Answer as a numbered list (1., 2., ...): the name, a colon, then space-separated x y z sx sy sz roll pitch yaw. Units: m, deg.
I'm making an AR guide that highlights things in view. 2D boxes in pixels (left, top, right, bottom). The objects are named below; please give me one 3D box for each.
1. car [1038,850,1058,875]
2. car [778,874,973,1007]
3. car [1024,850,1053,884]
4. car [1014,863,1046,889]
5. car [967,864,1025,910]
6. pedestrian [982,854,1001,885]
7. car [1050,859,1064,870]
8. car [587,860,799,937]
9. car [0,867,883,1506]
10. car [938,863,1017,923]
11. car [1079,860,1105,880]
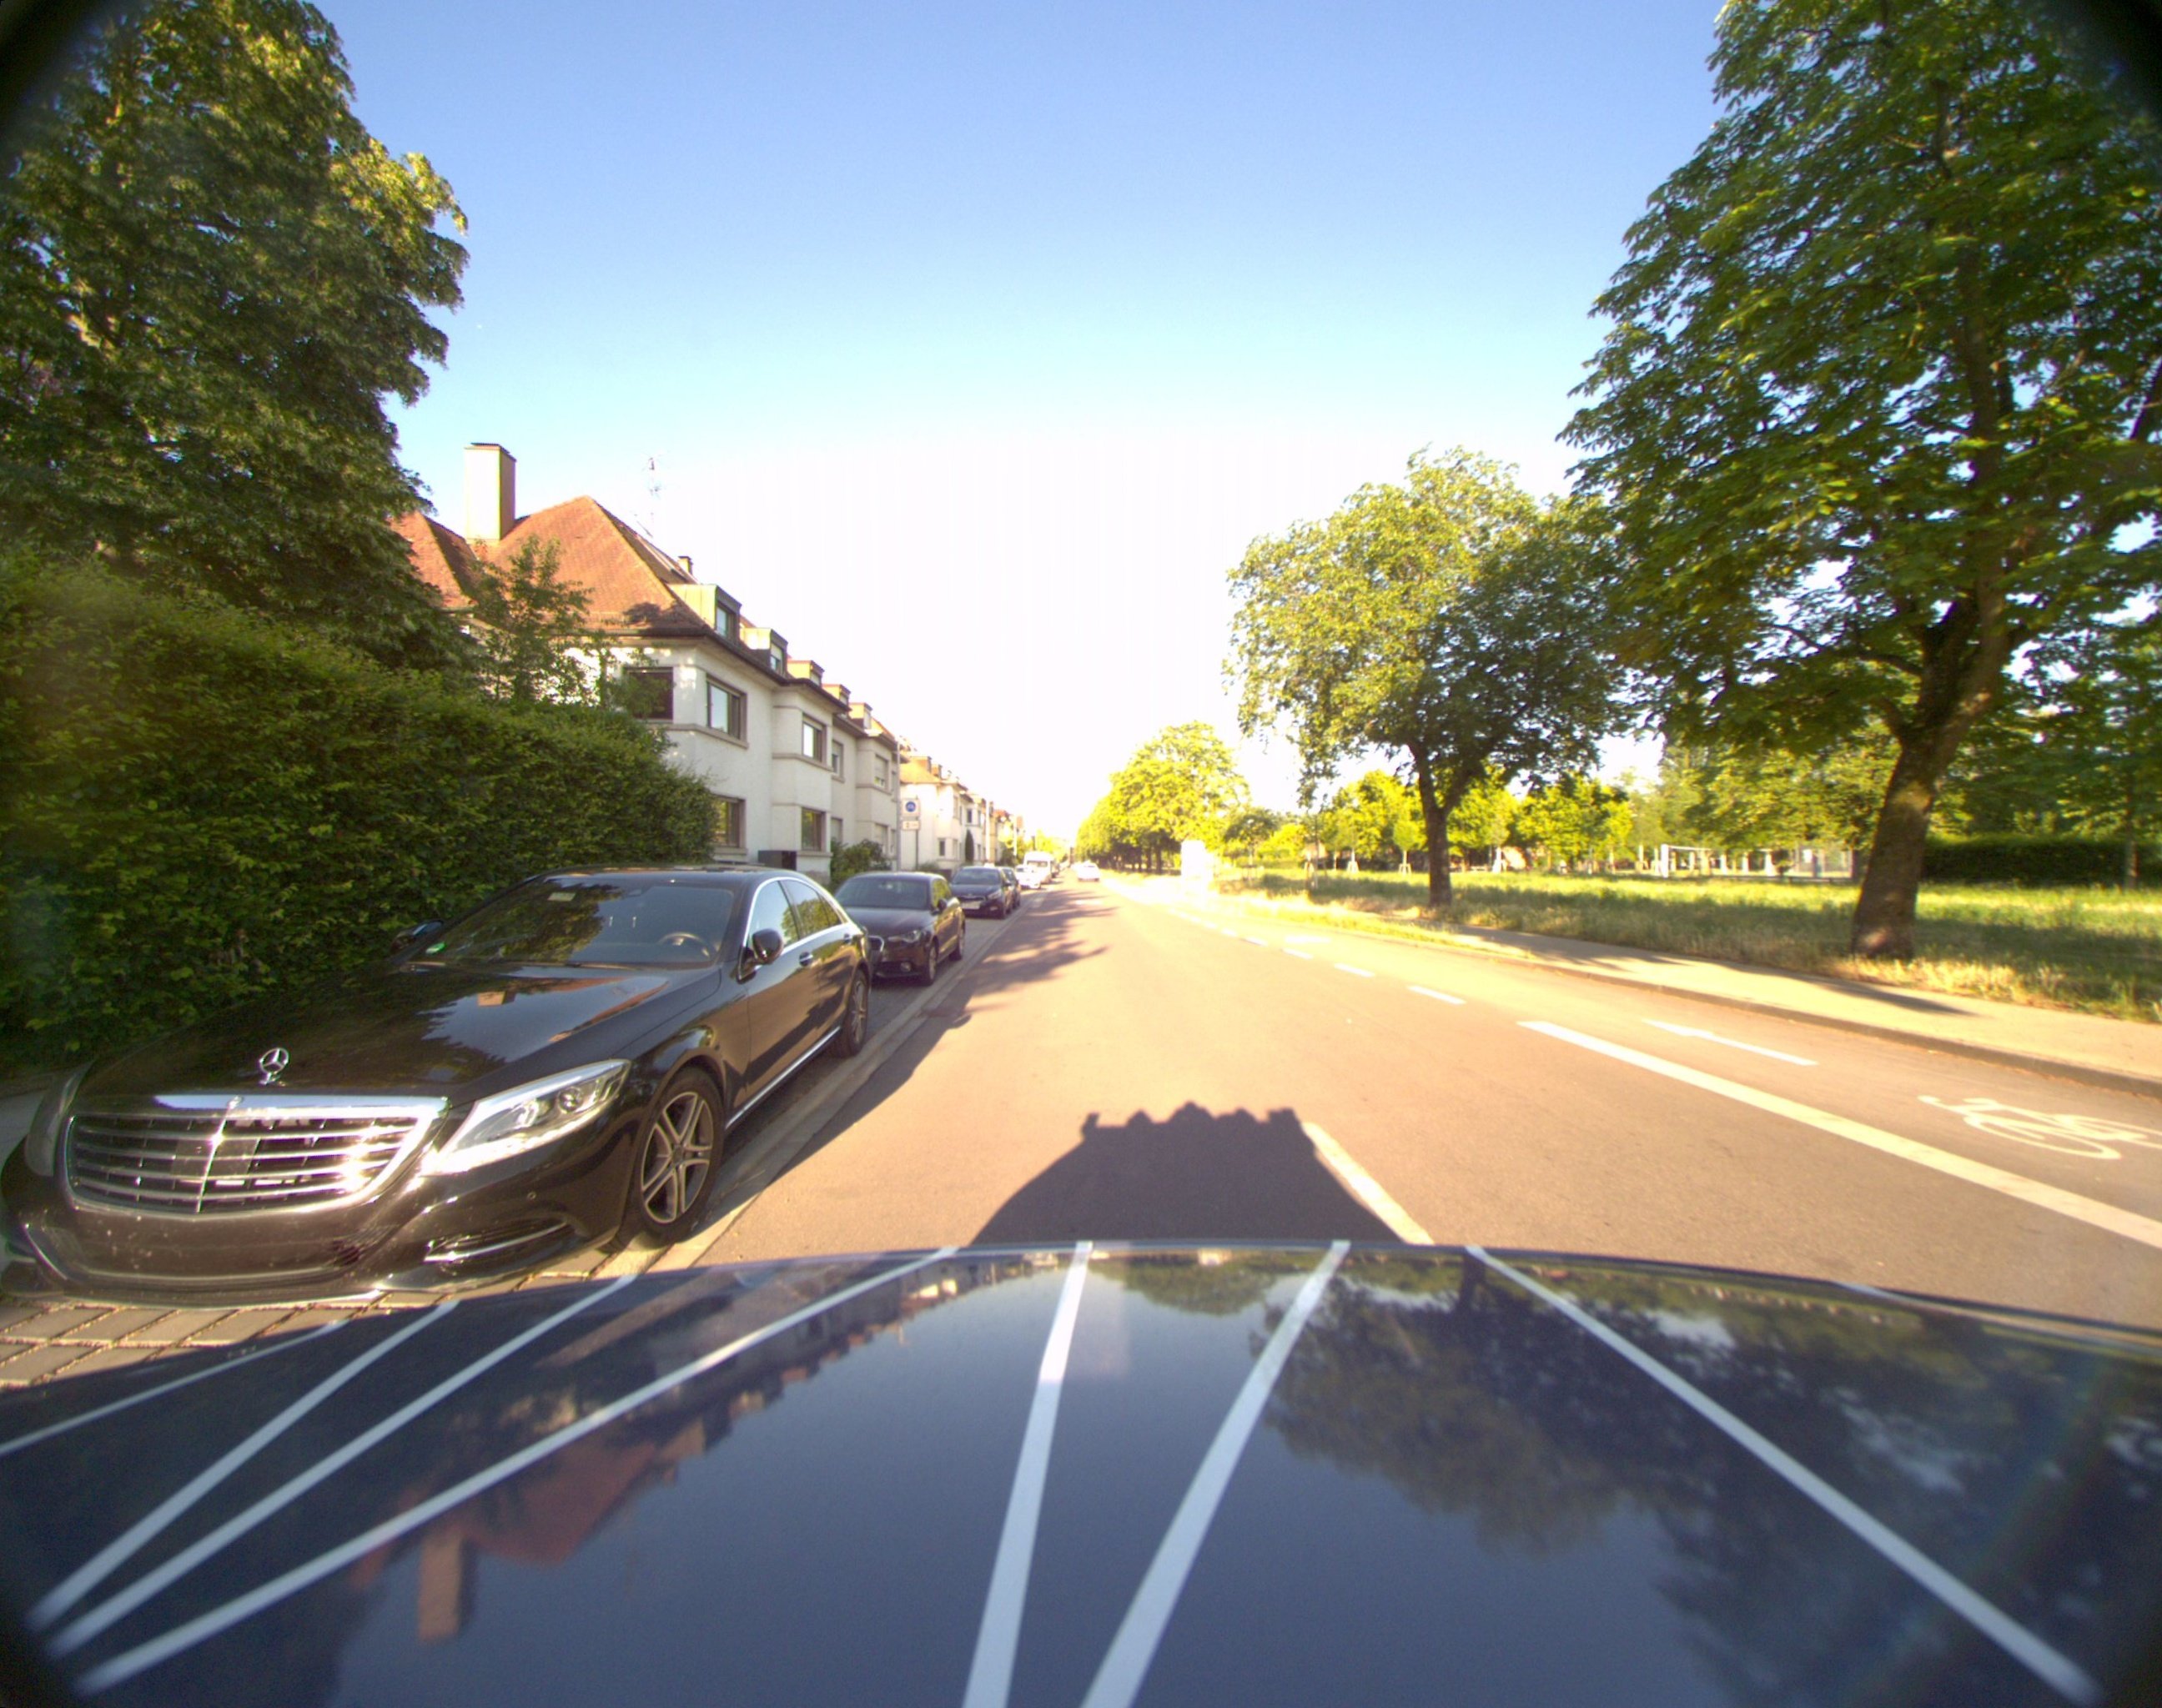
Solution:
1. car: -3.921 1.036 90.358 2.134 2.837 5.987 -1 0 -1
2. car: -2.649 1.048 10.718 1.645 1.419 3.936 1 0 0
3. car: -3.292 0.982 59.726 2.135 2.503 5.507 1 0 -2
4. car: -3.092 1.316 46.694 1.787 1.498 4.233 -1 0 -2
5. car: -3.000 1.147 27.568 1.723 1.463 3.983 2 0 -2
6. pedestrian: -5.813 0.985 49.103 1.089 2.002 0.865 0 0 -16
7. car: -3.657 1.575 116.664 1.974 1.630 4.000 2 0 -1
8. car: -8.221 0.924 16.380 3.644 1.487 1.780 1 0 -5
9. car: -2.623 0.889 4.347 1.864 1.533 4.872 1 0 -3
10. car: -2.918 1.070 22.236 1.751 1.466 4.255 3 0 -2
11. car: 0.933 1.432 67.880 1.896 1.667 4.423 -1 0 -4
